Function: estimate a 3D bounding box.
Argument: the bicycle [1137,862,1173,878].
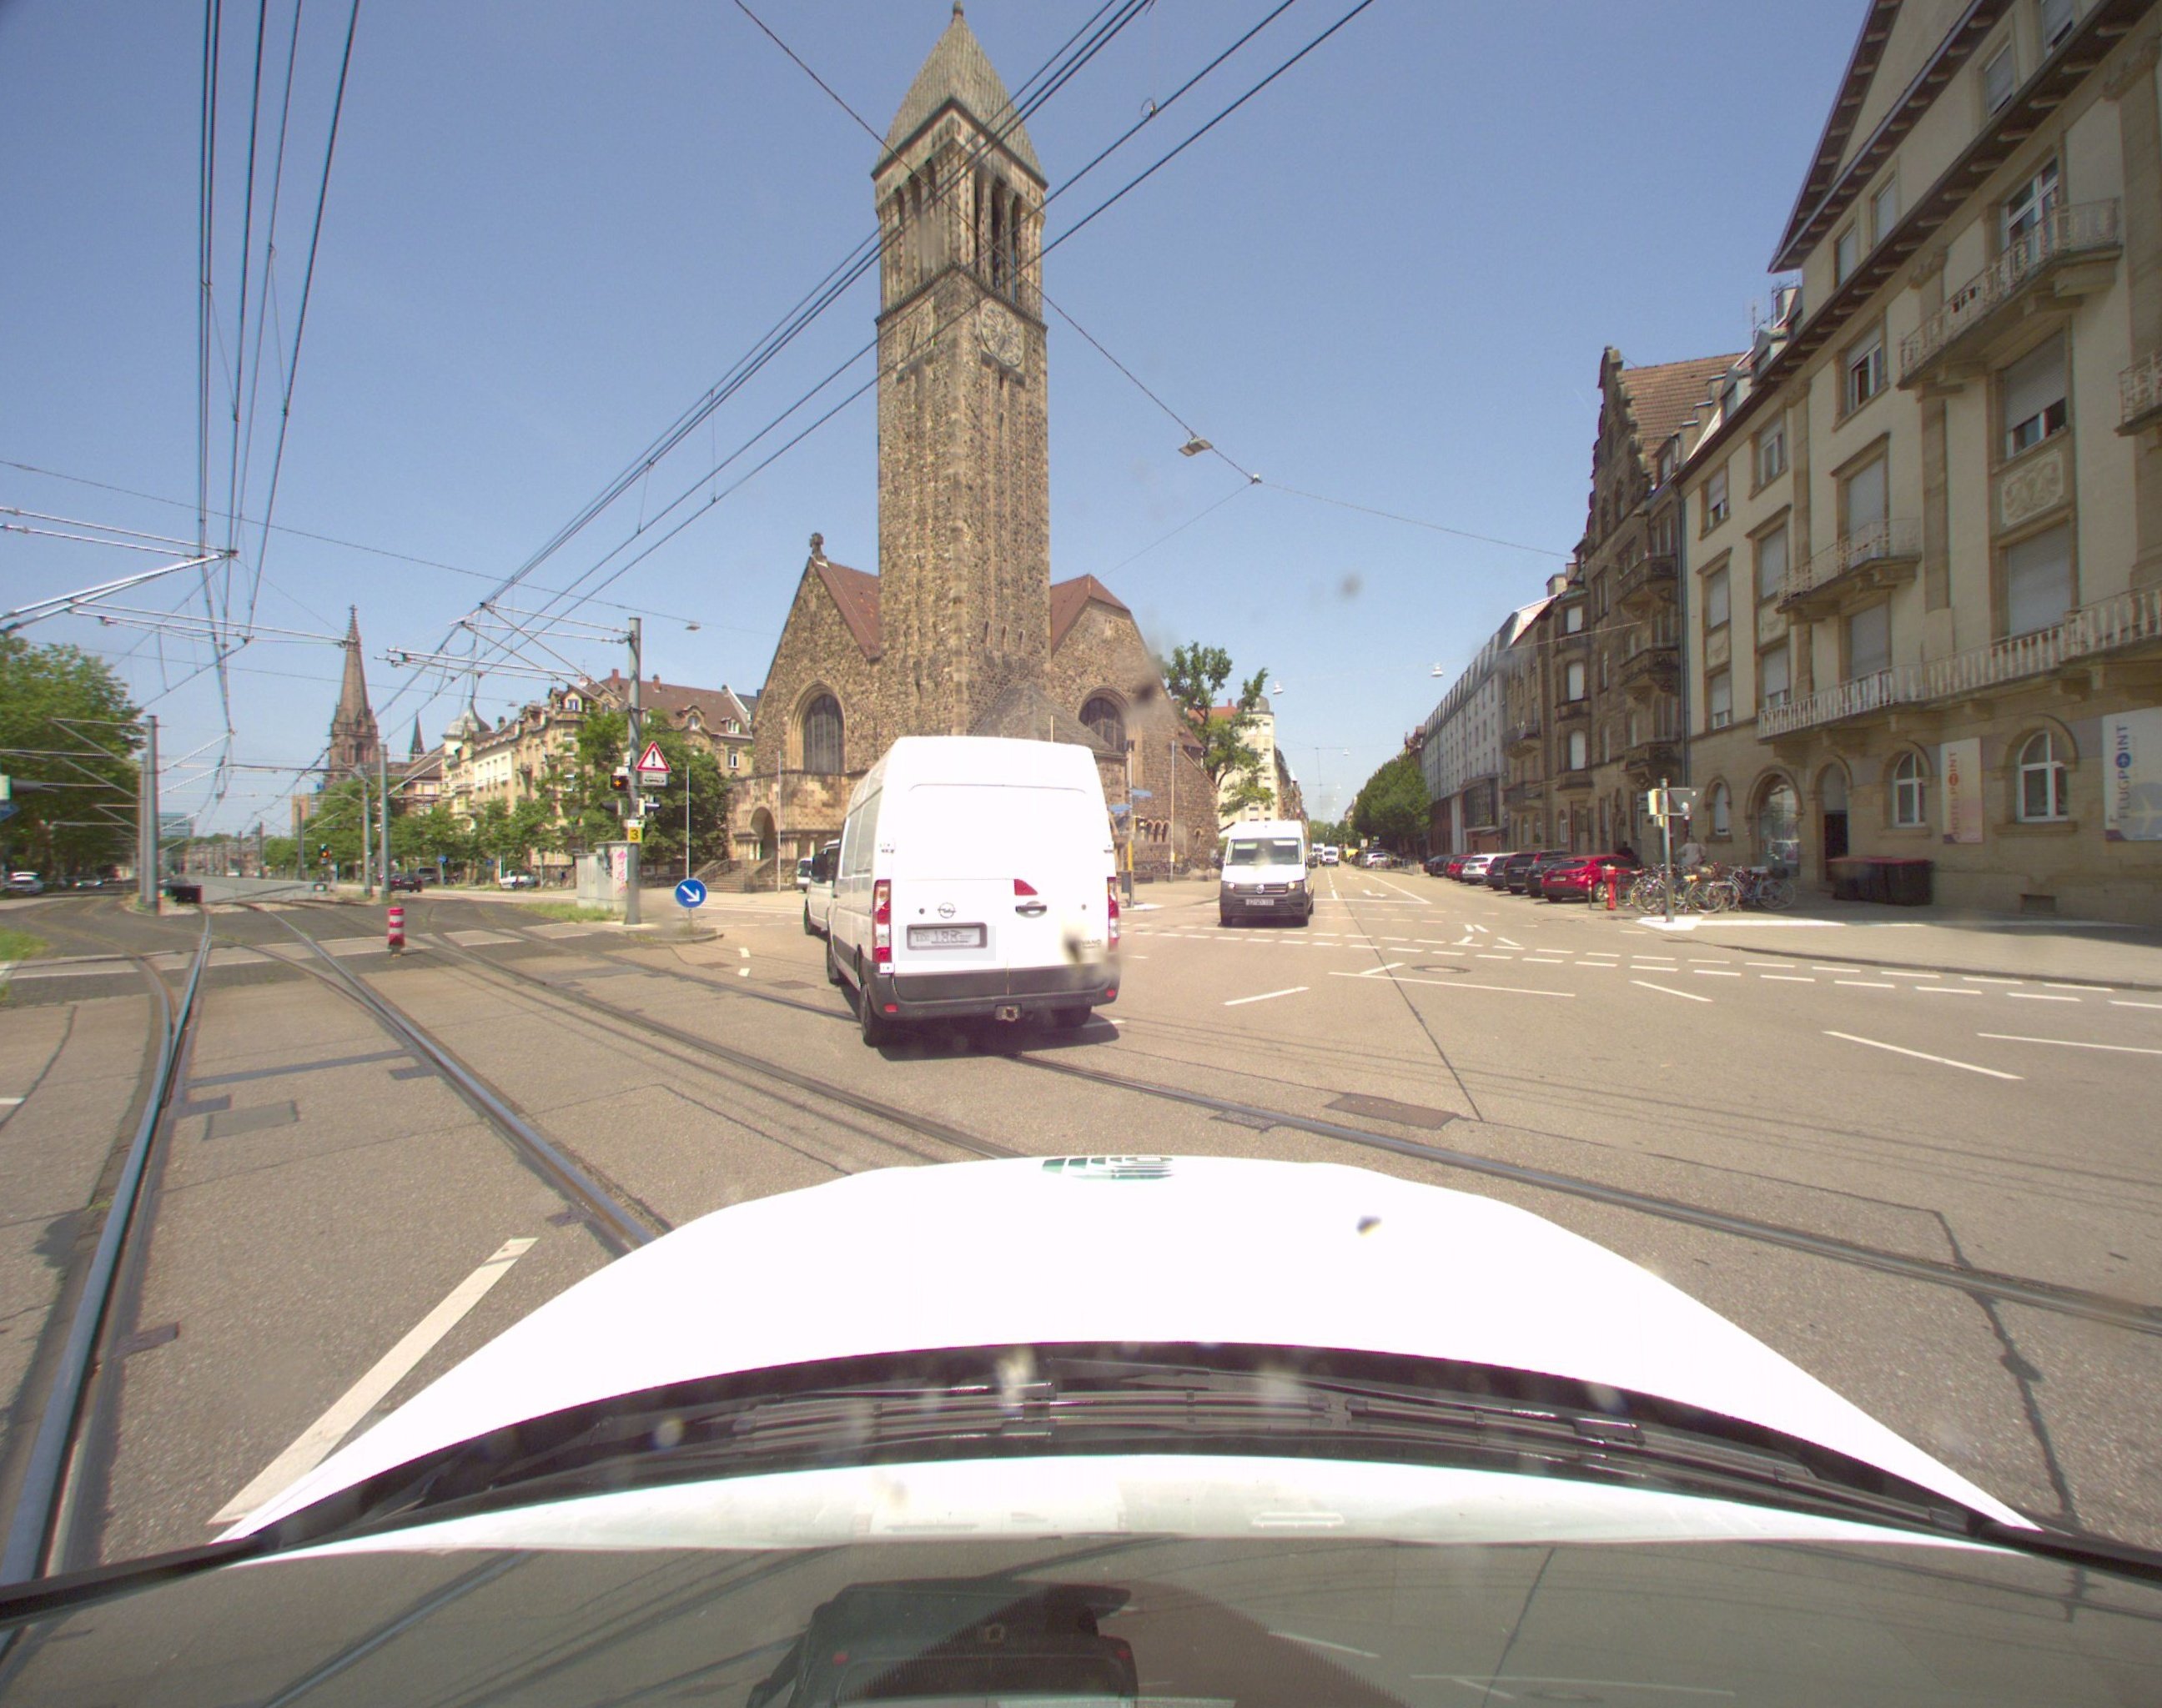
[{"bbox_3d":[5.032,1.088,55.398,2.467,1.011,0.710,-1,0,43],"label":"bicycle"}]

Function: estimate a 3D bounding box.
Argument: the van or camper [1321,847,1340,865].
[{"bbox_3d":[31.772,0.218,103.925,2.021,2.141,4.597,-1,0,14],"label":"van or camper"}]

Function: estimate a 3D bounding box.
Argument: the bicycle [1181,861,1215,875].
[{"bbox_3d":[8.509,1.012,59.160,2.467,1.011,0.710,-1,0,43],"label":"bicycle"}]

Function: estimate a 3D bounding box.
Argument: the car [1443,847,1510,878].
[{"bbox_3d":[22.705,0.492,46.771,3.226,1.575,1.606,-3,-2,-19],"label":"car"}]

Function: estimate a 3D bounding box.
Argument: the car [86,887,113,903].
[{"bbox_3d":[-115.955,4.833,96.234,4.543,1.625,1.865,-2,1,42],"label":"car"}]

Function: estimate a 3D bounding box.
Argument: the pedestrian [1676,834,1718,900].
[{"bbox_3d":[20.248,0.419,26.780,0.856,2.114,1.107,-2,-1,27],"label":"pedestrian"}]

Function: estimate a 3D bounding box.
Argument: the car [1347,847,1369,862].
[{"bbox_3d":[34.403,0.004,101.285,1.942,1.750,4.011,-2,0,10],"label":"car"}]

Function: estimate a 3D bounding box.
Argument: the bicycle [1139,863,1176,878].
[{"bbox_3d":[5.022,1.090,53.768,2.467,1.011,0.710,-1,0,43],"label":"bicycle"}]

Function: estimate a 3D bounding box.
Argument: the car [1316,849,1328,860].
[{"bbox_3d":[46.045,0.098,155.370,1.977,2.014,4.019,-1,-1,18],"label":"car"}]

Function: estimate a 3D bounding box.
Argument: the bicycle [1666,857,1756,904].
[{"bbox_3d":[16.619,0.706,21.536,1.782,1.151,0.569,-3,-1,30],"label":"bicycle"}]

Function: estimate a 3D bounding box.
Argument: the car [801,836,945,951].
[{"bbox_3d":[-4.269,0.698,16.229,1.927,1.944,4.227,-1,-1,-26],"label":"car"}]

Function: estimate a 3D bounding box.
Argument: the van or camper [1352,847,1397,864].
[{"bbox_3d":[32.737,0.143,91.001,4.313,1.838,1.993,-1,0,-10],"label":"van or camper"}]

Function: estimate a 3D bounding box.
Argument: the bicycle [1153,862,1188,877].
[{"bbox_3d":[6.200,1.060,56.686,2.467,1.011,0.710,-1,0,43],"label":"bicycle"}]

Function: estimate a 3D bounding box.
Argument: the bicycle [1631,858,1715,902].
[{"bbox_3d":[16.393,0.720,22.598,1.782,1.151,0.569,-3,-1,30],"label":"bicycle"}]

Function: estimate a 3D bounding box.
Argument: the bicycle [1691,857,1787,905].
[{"bbox_3d":[16.654,0.697,20.652,1.782,1.151,0.569,-3,-1,30],"label":"bicycle"}]

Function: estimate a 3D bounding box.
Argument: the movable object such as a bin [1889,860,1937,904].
[{"bbox_3d":[19.046,0.635,18.648,0.576,0.995,0.594,-2,-1,25],"label":"movable object such as a bin"}]

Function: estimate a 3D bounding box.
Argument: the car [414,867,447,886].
[{"bbox_3d":[-61.557,2.145,77.050,3.710,1.706,1.766,-2,-1,41],"label":"car"}]

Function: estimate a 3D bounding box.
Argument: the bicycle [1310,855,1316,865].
[{"bbox_3d":[32.282,0.771,113.444,0.668,1.359,2.077,-2,0,15],"label":"bicycle"}]

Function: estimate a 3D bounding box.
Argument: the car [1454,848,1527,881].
[{"bbox_3d":[22.025,0.560,43.813,3.226,1.575,1.606,-3,-2,-19],"label":"car"}]

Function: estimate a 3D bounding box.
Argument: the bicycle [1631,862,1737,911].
[{"bbox_3d":[14.807,0.795,20.077,2.034,1.151,0.569,-1,0,30],"label":"bicycle"}]

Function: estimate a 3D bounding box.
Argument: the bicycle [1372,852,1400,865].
[{"bbox_3d":[30.268,0.436,80.748,2.587,1.174,0.681,-1,-1,-6],"label":"bicycle"}]

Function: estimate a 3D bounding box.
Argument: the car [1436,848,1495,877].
[{"bbox_3d":[23.963,0.516,50.711,3.234,1.575,1.602,-3,-2,-28],"label":"car"}]

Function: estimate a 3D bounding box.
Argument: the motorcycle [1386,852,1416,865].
[{"bbox_3d":[30.371,0.405,77.365,2.569,1.174,0.686,-1,-1,19],"label":"motorcycle"}]

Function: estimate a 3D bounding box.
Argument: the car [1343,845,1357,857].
[{"bbox_3d":[46.648,-0.496,141.306,1.889,2.014,4.022,-3,-1,23],"label":"car"}]

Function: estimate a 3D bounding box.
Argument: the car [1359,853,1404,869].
[{"bbox_3d":[31.293,0.767,84.822,3.983,1.549,1.745,-1,-1,-7],"label":"car"}]

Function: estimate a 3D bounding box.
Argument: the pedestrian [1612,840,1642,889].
[{"bbox_3d":[22.882,0.420,34.137,0.856,2.014,1.107,-2,-1,27],"label":"pedestrian"}]

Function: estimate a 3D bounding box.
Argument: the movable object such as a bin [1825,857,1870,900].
[{"bbox_3d":[19.336,0.606,20.555,0.662,1.064,0.594,-2,-1,25],"label":"movable object such as a bin"}]

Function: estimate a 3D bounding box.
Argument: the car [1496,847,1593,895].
[{"bbox_3d":[18.221,0.655,31.996,3.230,1.665,1.604,-3,-2,-23],"label":"car"}]

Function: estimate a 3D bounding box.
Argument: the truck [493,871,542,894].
[{"bbox_3d":[-41.132,2.058,59.394,4.408,1.526,1.806,-1,0,40],"label":"truck"}]

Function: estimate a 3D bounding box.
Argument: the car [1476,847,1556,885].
[{"bbox_3d":[20.504,0.578,38.394,3.230,1.575,1.604,-3,-2,-23],"label":"car"}]

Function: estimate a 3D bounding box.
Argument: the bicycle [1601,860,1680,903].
[{"bbox_3d":[16.330,0.800,23.798,1.787,1.151,0.567,-3,-1,11],"label":"bicycle"}]

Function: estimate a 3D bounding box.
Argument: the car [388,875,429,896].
[{"bbox_3d":[-50.614,2.354,61.242,3.710,1.539,1.766,-2,-1,41],"label":"car"}]

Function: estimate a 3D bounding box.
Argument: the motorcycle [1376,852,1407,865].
[{"bbox_3d":[29.291,0.451,76.866,2.687,1.174,0.779,-1,-1,19],"label":"motorcycle"}]

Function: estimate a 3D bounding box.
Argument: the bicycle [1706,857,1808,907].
[{"bbox_3d":[16.387,0.692,19.789,1.782,1.151,0.569,-3,-1,30],"label":"bicycle"}]

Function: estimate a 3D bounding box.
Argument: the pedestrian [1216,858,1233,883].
[{"bbox_3d":[9.117,1.072,51.716,0.711,1.559,0.797,-2,-1,35],"label":"pedestrian"}]

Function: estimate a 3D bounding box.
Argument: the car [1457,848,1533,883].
[{"bbox_3d":[21.008,0.602,41.361,3.227,1.575,1.606,-3,-2,-20],"label":"car"}]

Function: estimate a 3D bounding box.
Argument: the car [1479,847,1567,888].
[{"bbox_3d":[19.212,0.584,35.417,3.230,1.575,1.604,-3,-2,-23],"label":"car"}]

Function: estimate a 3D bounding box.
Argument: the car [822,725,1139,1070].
[{"bbox_3d":[-1.440,0.329,8.553,2.125,2.459,5.018,-1,-1,-21],"label":"car"}]

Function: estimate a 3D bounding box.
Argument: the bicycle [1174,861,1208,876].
[{"bbox_3d":[7.894,1.023,58.386,2.467,1.011,0.710,-1,0,43],"label":"bicycle"}]

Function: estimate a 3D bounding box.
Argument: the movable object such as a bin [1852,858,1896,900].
[{"bbox_3d":[19.240,0.603,19.769,0.576,0.995,0.594,-2,-1,25],"label":"movable object such as a bin"}]

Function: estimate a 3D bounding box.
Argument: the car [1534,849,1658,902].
[{"bbox_3d":[16.569,0.691,26.236,3.223,1.479,1.607,-3,-2,-17],"label":"car"}]

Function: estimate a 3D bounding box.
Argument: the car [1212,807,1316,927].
[{"bbox_3d":[4.968,0.286,21.301,2.054,2.637,6.663,-1,0,17],"label":"car"}]

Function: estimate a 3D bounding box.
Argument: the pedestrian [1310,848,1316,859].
[{"bbox_3d":[32.307,-0.085,113.504,0.725,1.420,0.801,-2,0,14],"label":"pedestrian"}]

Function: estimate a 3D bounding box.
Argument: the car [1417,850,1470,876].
[{"bbox_3d":[25.004,0.589,56.159,3.236,1.575,1.601,-3,-2,-29],"label":"car"}]

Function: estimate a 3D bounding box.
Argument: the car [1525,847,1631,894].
[{"bbox_3d":[17.690,0.588,28.999,3.230,1.479,1.604,-3,-2,-23],"label":"car"}]

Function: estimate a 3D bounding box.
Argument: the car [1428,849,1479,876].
[{"bbox_3d":[24.332,0.571,53.231,3.239,1.575,1.480,-2,-2,-34],"label":"car"}]

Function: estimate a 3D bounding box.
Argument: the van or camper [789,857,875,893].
[{"bbox_3d":[-13.380,1.086,43.886,1.974,1.807,4.025,-2,-1,38],"label":"van or camper"}]
